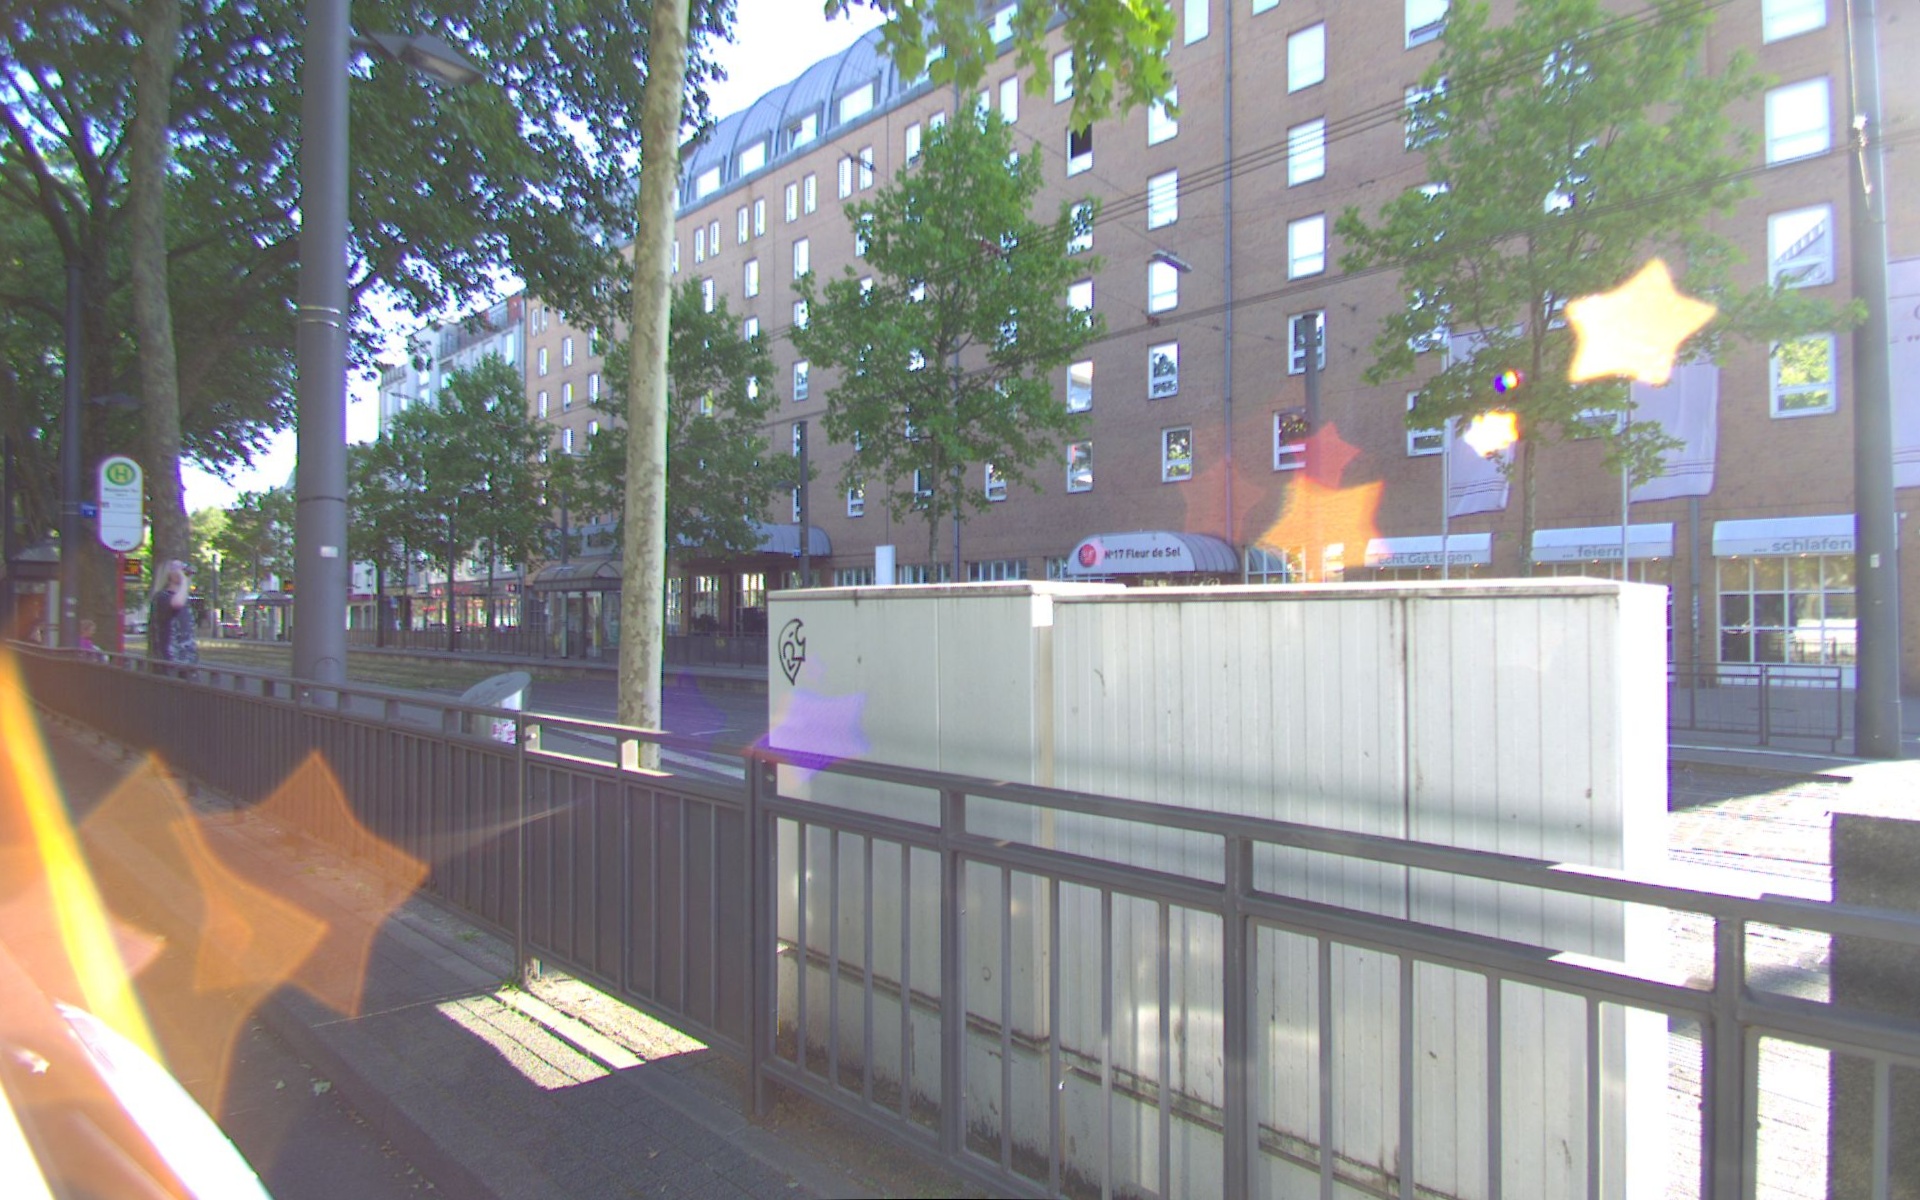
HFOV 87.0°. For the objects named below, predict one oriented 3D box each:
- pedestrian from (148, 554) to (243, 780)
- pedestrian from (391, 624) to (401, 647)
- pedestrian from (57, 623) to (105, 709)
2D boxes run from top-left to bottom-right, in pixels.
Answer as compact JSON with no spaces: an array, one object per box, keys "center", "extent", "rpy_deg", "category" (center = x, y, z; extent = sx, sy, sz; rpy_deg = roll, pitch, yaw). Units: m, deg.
[{"center":[-6.527,0.547,8.641],"extent":[0.524,1.848,0.536],"rpy_deg":[-1,0,42],"category":"pedestrian"},{"center":[-42.443,2.667,76.161],"extent":[0.574,1.748,0.497],"rpy_deg":[-2,-2,43],"category":"pedestrian"},{"center":[-14.071,1.038,16.209],"extent":[0.534,1.327,0.525],"rpy_deg":[-1,0,-37],"category":"pedestrian"}]
